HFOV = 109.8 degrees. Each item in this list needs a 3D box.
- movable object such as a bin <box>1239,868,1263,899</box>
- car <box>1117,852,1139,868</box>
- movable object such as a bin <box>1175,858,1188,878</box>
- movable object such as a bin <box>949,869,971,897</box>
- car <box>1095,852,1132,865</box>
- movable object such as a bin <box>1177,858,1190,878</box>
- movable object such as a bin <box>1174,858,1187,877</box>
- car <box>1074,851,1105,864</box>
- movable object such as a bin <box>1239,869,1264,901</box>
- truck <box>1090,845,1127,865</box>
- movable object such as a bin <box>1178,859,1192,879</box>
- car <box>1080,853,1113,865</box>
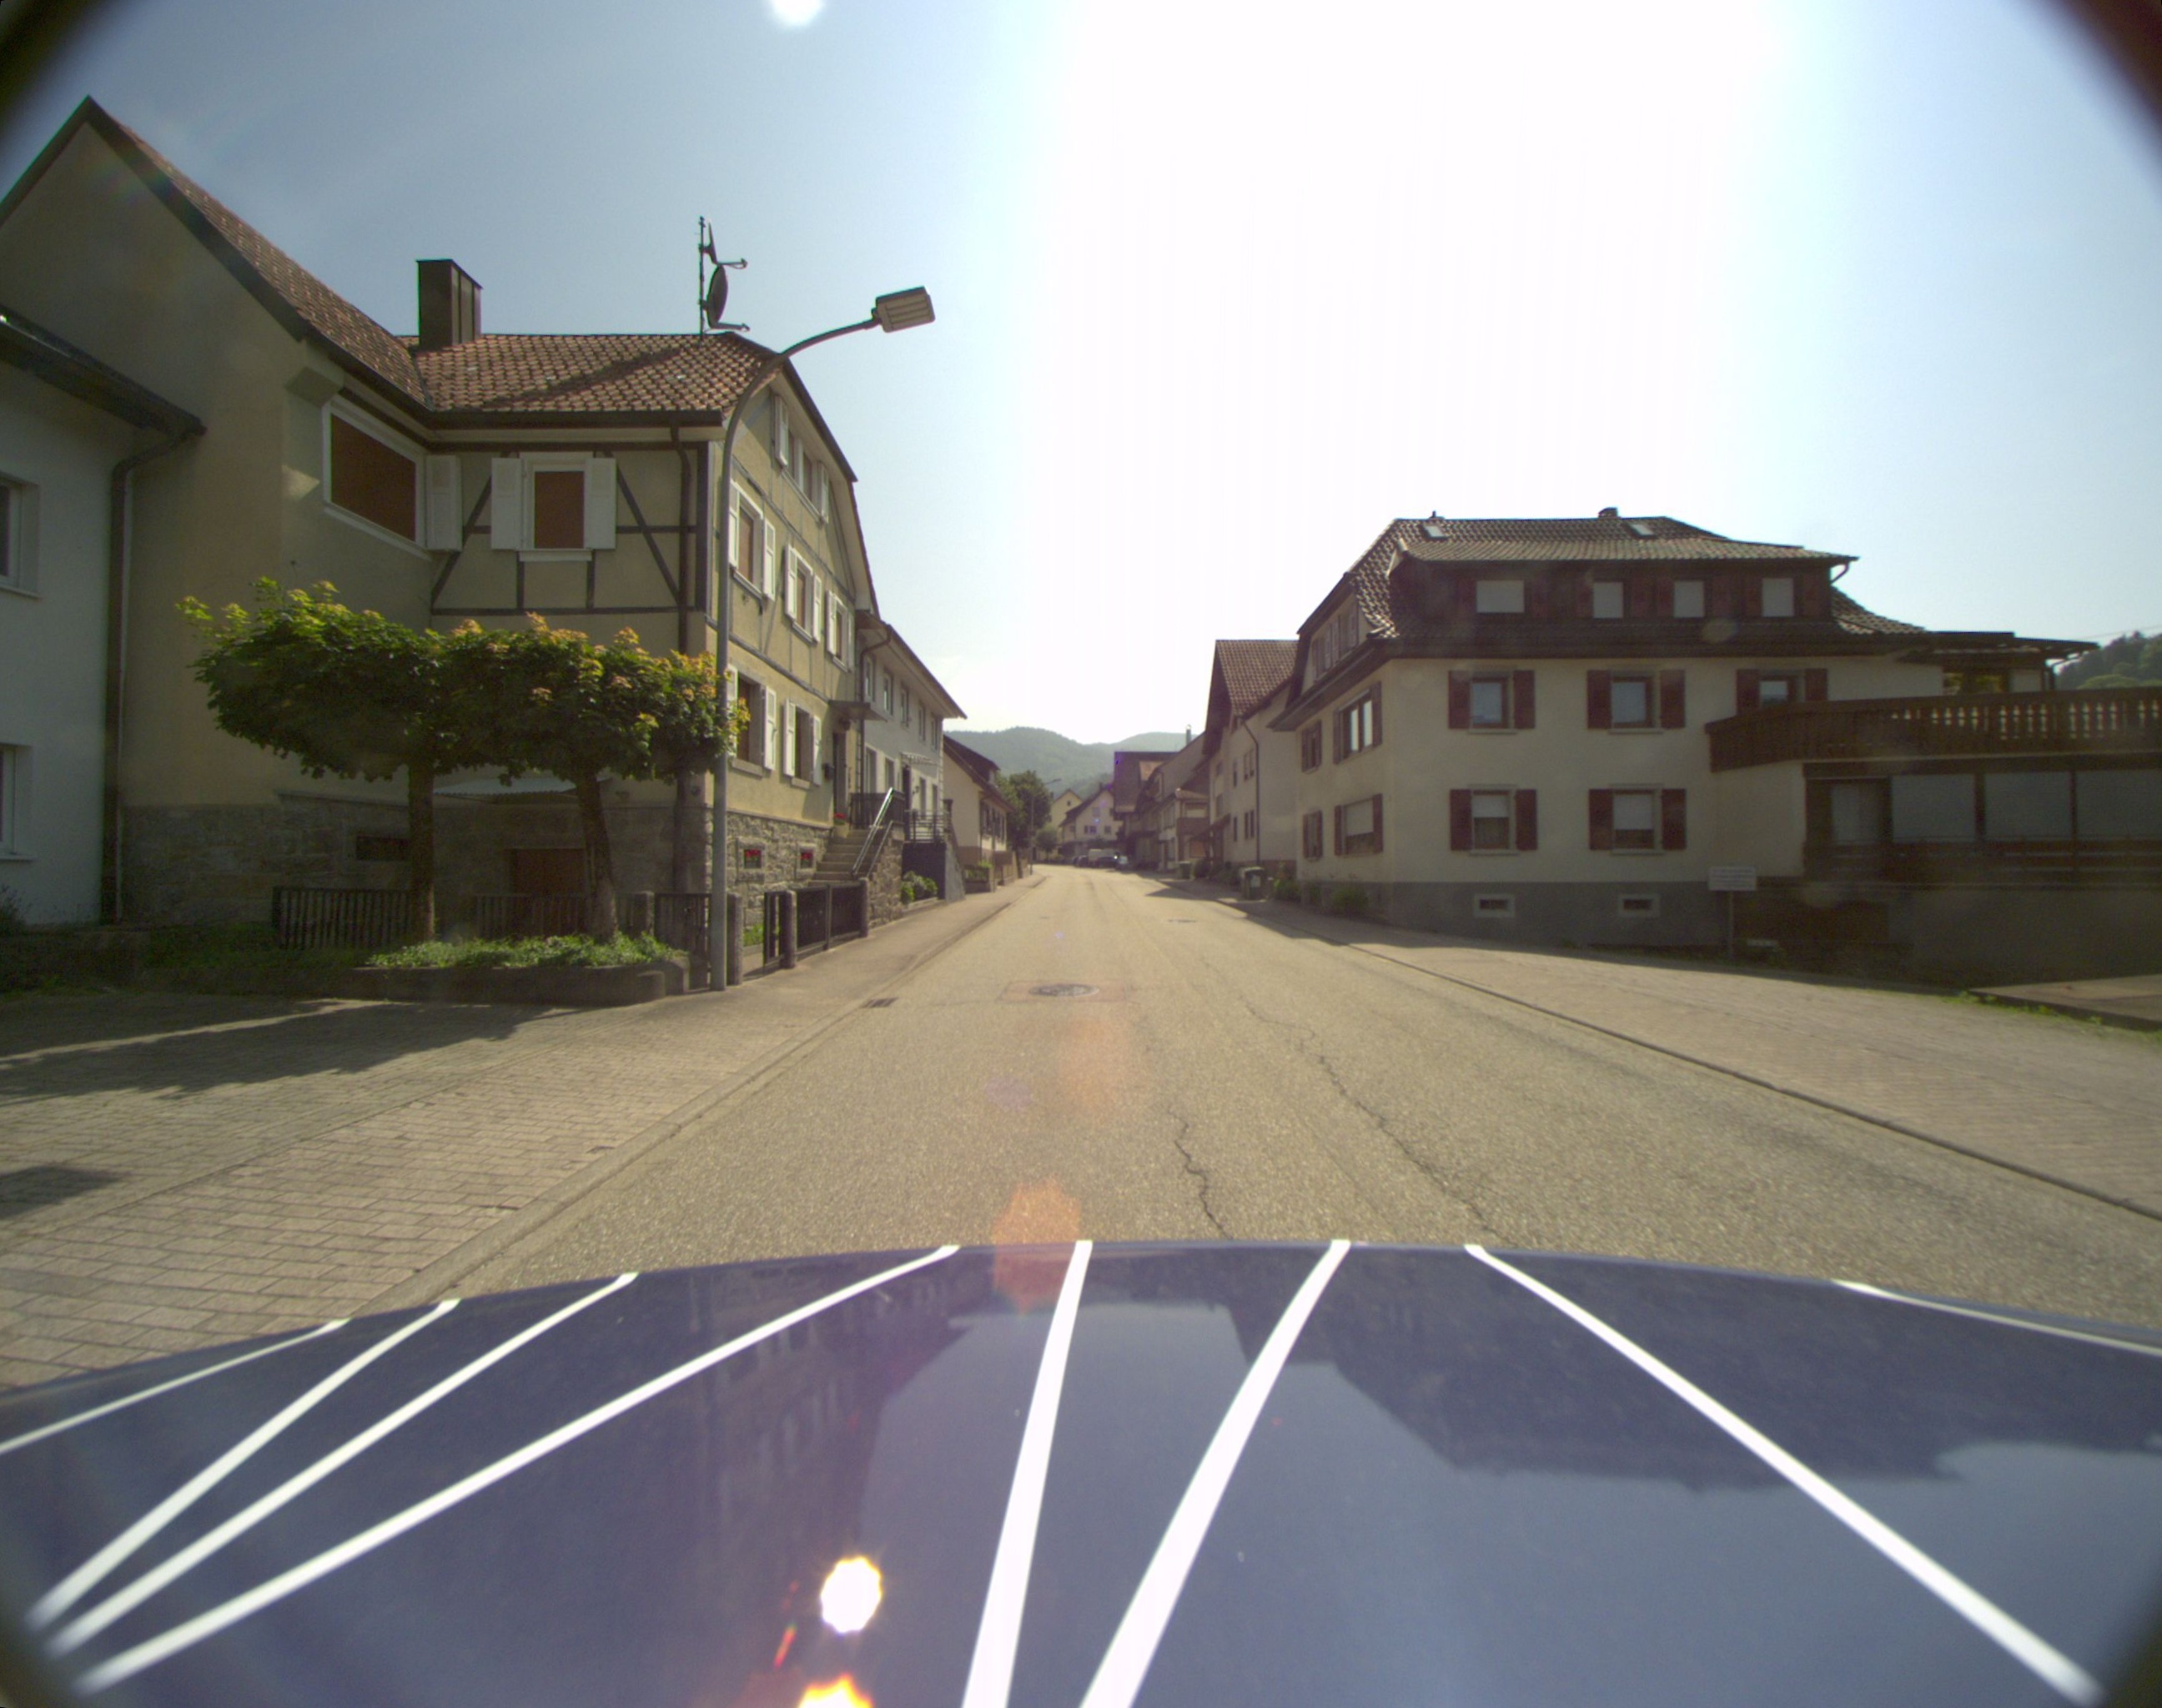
[{"bbox_3d":[5.937,1.037,26.557,0.677,1.060,0.653,0,1,-2],"label":"movable object such as a bin"},{"bbox_3d":[4.813,0.569,78.510,1.775,1.544,4.284,-2,0,-3],"label":"car"},{"bbox_3d":[6.242,0.862,47.126,0.719,1.174,0.598,1,0,1],"label":"movable object such as a bin"},{"bbox_3d":[-4.457,1.064,28.113,0.706,1.014,0.618,0,1,1],"label":"movable object such as a bin"},{"bbox_3d":[3.631,0.534,85.984,4.106,1.494,1.753,0,0,-2],"label":"car"},{"bbox_3d":[6.257,0.869,46.474,0.719,1.174,0.598,1,0,1],"label":"movable object such as a bin"},{"bbox_3d":[6.256,0.853,47.786,0.719,1.174,0.598,1,0,1],"label":"movable object such as a bin"},{"bbox_3d":[1.108,0.499,97.527,3.996,1.563,1.577,1,0,1],"label":"car"},{"bbox_3d":[5.751,1.043,25.656,0.677,1.060,0.621,0,1,-2],"label":"movable object such as a bin"},{"bbox_3d":[3.268,0.094,90.920,4.178,2.253,1.999,-1,1,-6],"label":"truck"},{"bbox_3d":[6.257,0.877,45.817,0.719,1.174,0.598,1,0,1],"label":"movable object such as a bin"},{"bbox_3d":[1.890,0.618,94.553,3.999,1.444,1.627,1,0,-4],"label":"car"}]
